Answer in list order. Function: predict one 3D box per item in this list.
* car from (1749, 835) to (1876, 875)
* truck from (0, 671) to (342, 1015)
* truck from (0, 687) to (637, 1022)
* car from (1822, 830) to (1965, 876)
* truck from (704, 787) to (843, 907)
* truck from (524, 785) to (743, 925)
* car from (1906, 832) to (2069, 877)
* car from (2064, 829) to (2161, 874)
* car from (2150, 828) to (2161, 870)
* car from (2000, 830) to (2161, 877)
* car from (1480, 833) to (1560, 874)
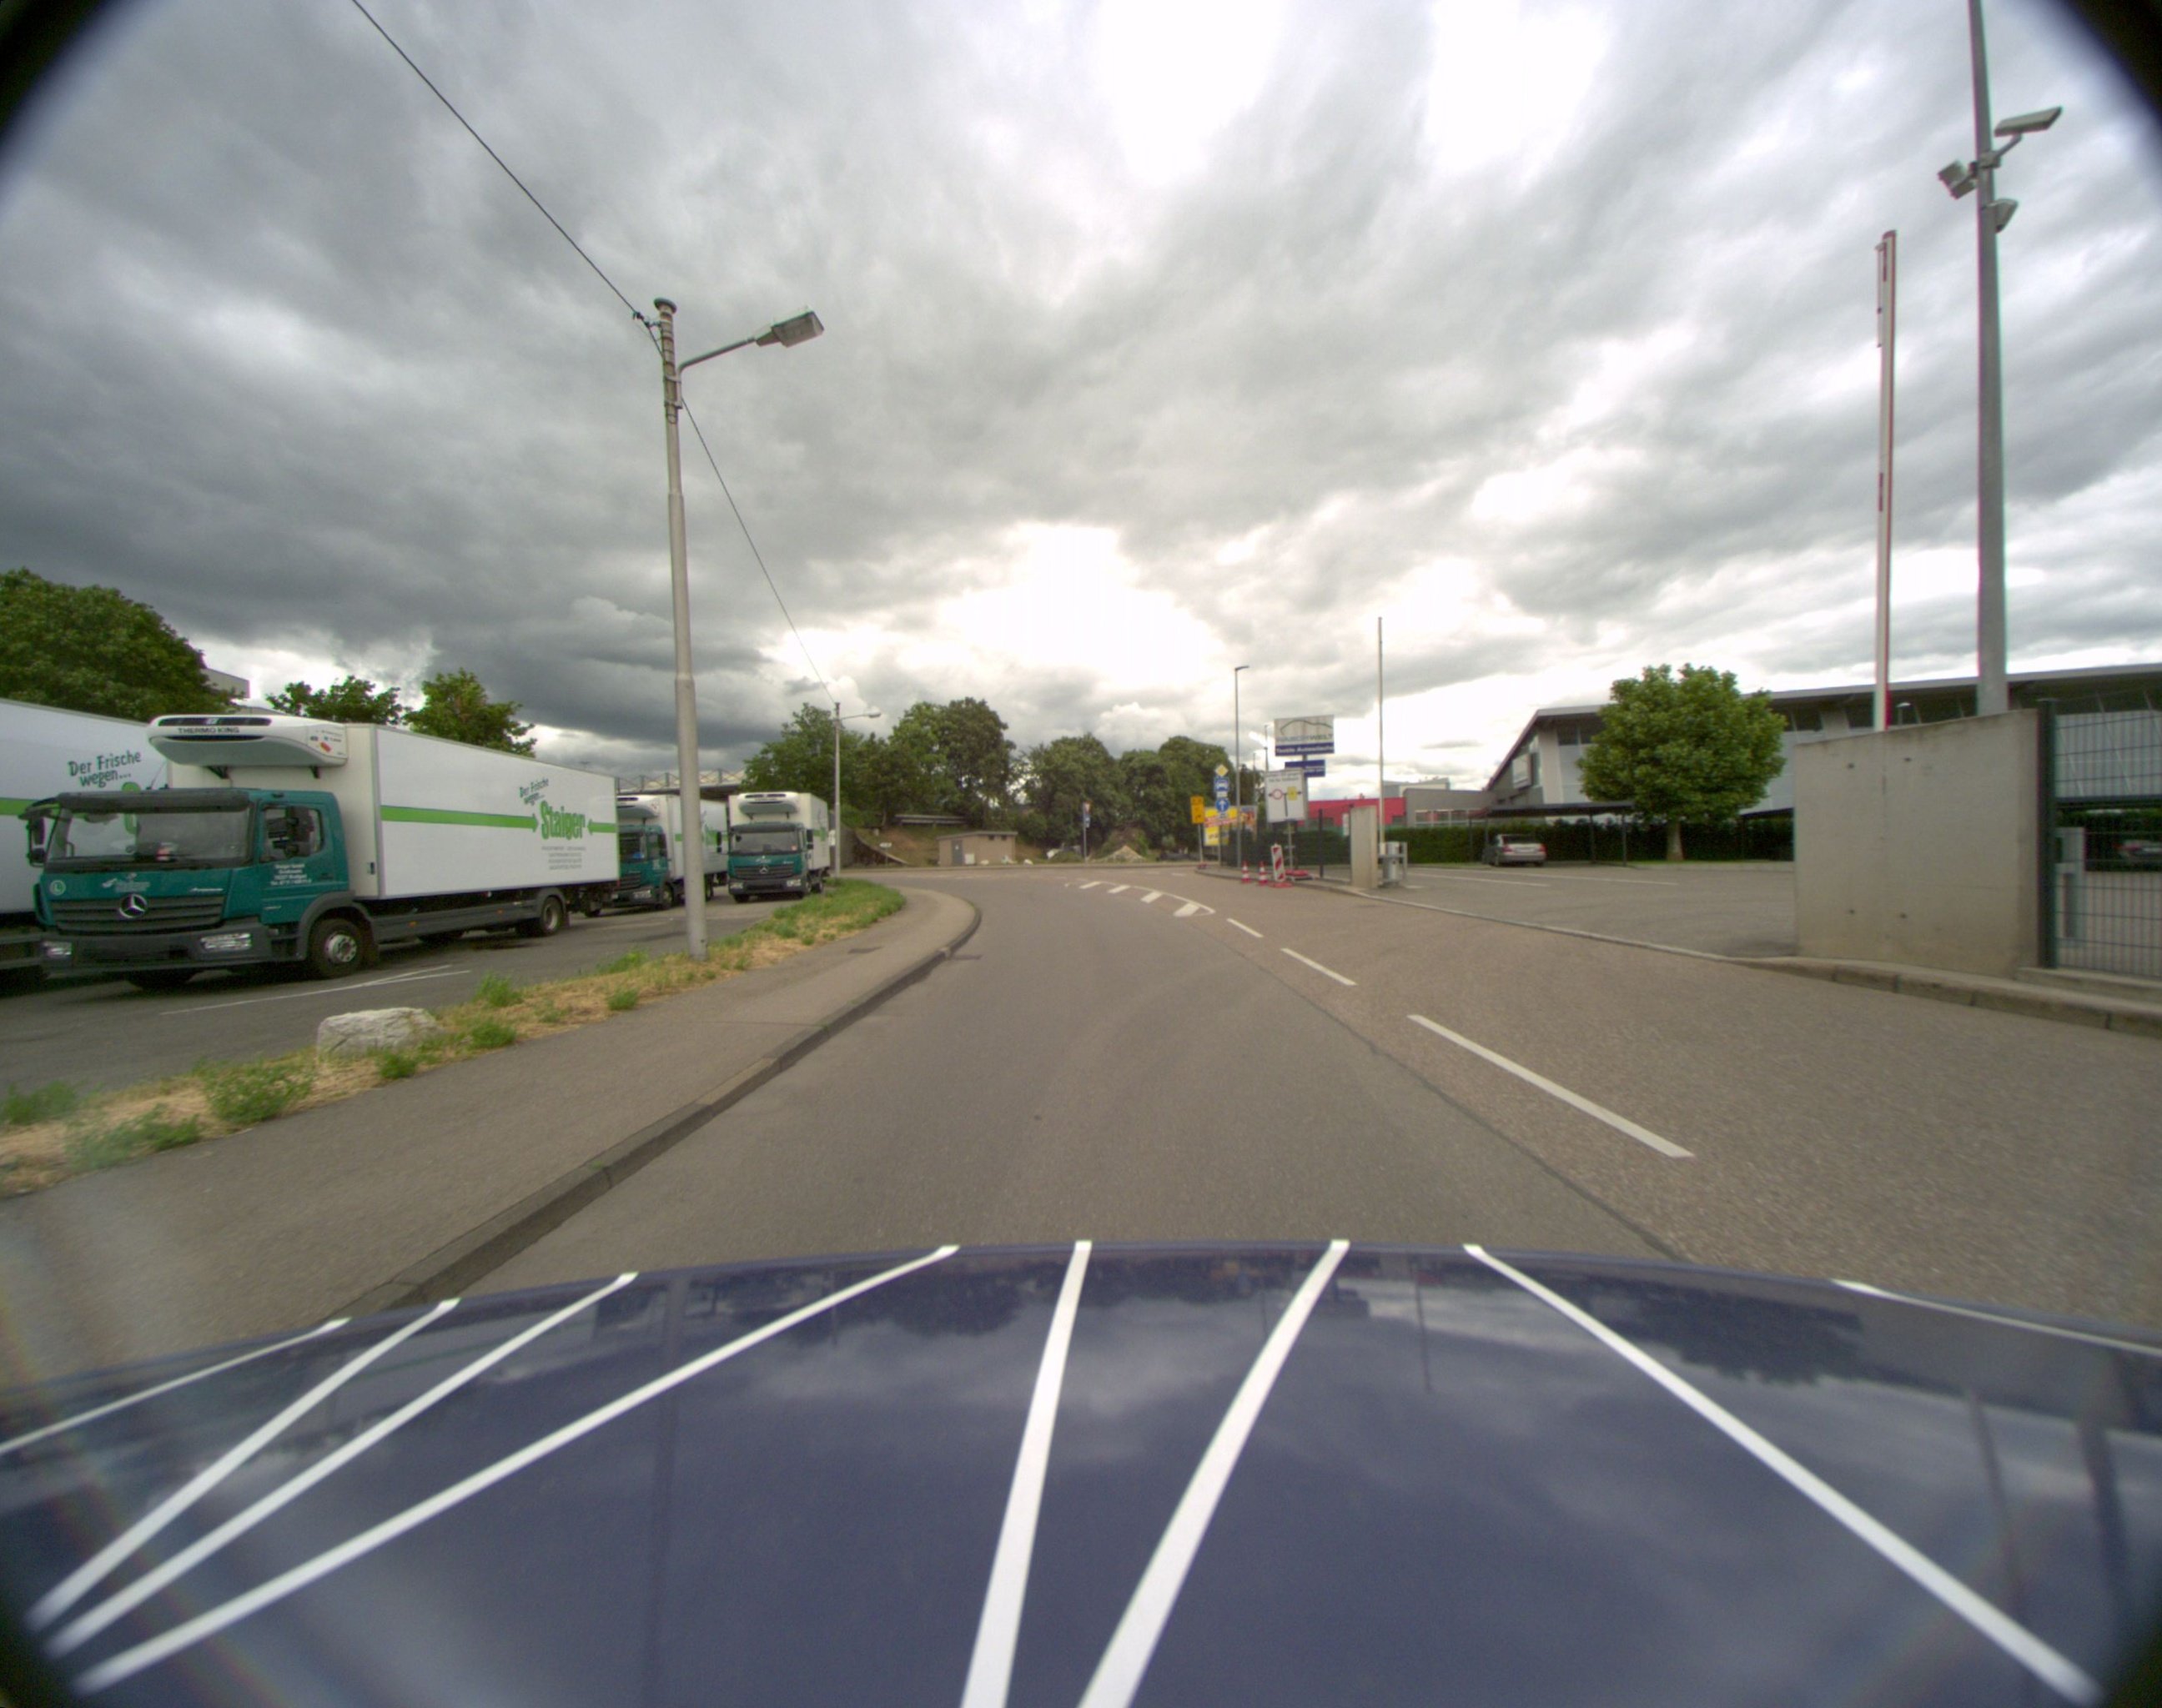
[{"bbox_3d":[29.605,0.027,30.934,1.964,1.483,4.252,-1,1,16],"label":"car"},{"bbox_3d":[-15.385,-0.092,9.820,2.989,4.408,10.546,-3,1,-12],"label":"truck"},{"bbox_3d":[-12.144,0.012,14.060,2.988,3.808,10.426,-3,0,-9],"label":"truck"},{"bbox_3d":[31.825,-0.055,29.959,1.964,1.638,4.252,-1,1,16],"label":"car"},{"bbox_3d":[-10.870,-0.264,27.900,3.073,3.610,8.595,-3,1,-12],"label":"truck"},{"bbox_3d":[-14.149,-0.036,25.120,3.073,3.611,8.596,-5,1,-10],"label":"truck"},{"bbox_3d":[34.408,-0.008,29.051,1.964,1.550,4.252,-1,1,16],"label":"car"},{"bbox_3d":[38.963,-0.117,27.523,1.964,1.550,4.252,-1,1,16],"label":"car"},{"bbox_3d":[41.060,-0.179,26.622,1.964,1.550,4.252,-1,1,16],"label":"car"},{"bbox_3d":[36.287,-0.054,27.388,1.964,1.550,4.252,-1,1,16],"label":"car"},{"bbox_3d":[19.317,-0.053,33.659,2.070,1.660,4.252,-1,1,16],"label":"car"}]
